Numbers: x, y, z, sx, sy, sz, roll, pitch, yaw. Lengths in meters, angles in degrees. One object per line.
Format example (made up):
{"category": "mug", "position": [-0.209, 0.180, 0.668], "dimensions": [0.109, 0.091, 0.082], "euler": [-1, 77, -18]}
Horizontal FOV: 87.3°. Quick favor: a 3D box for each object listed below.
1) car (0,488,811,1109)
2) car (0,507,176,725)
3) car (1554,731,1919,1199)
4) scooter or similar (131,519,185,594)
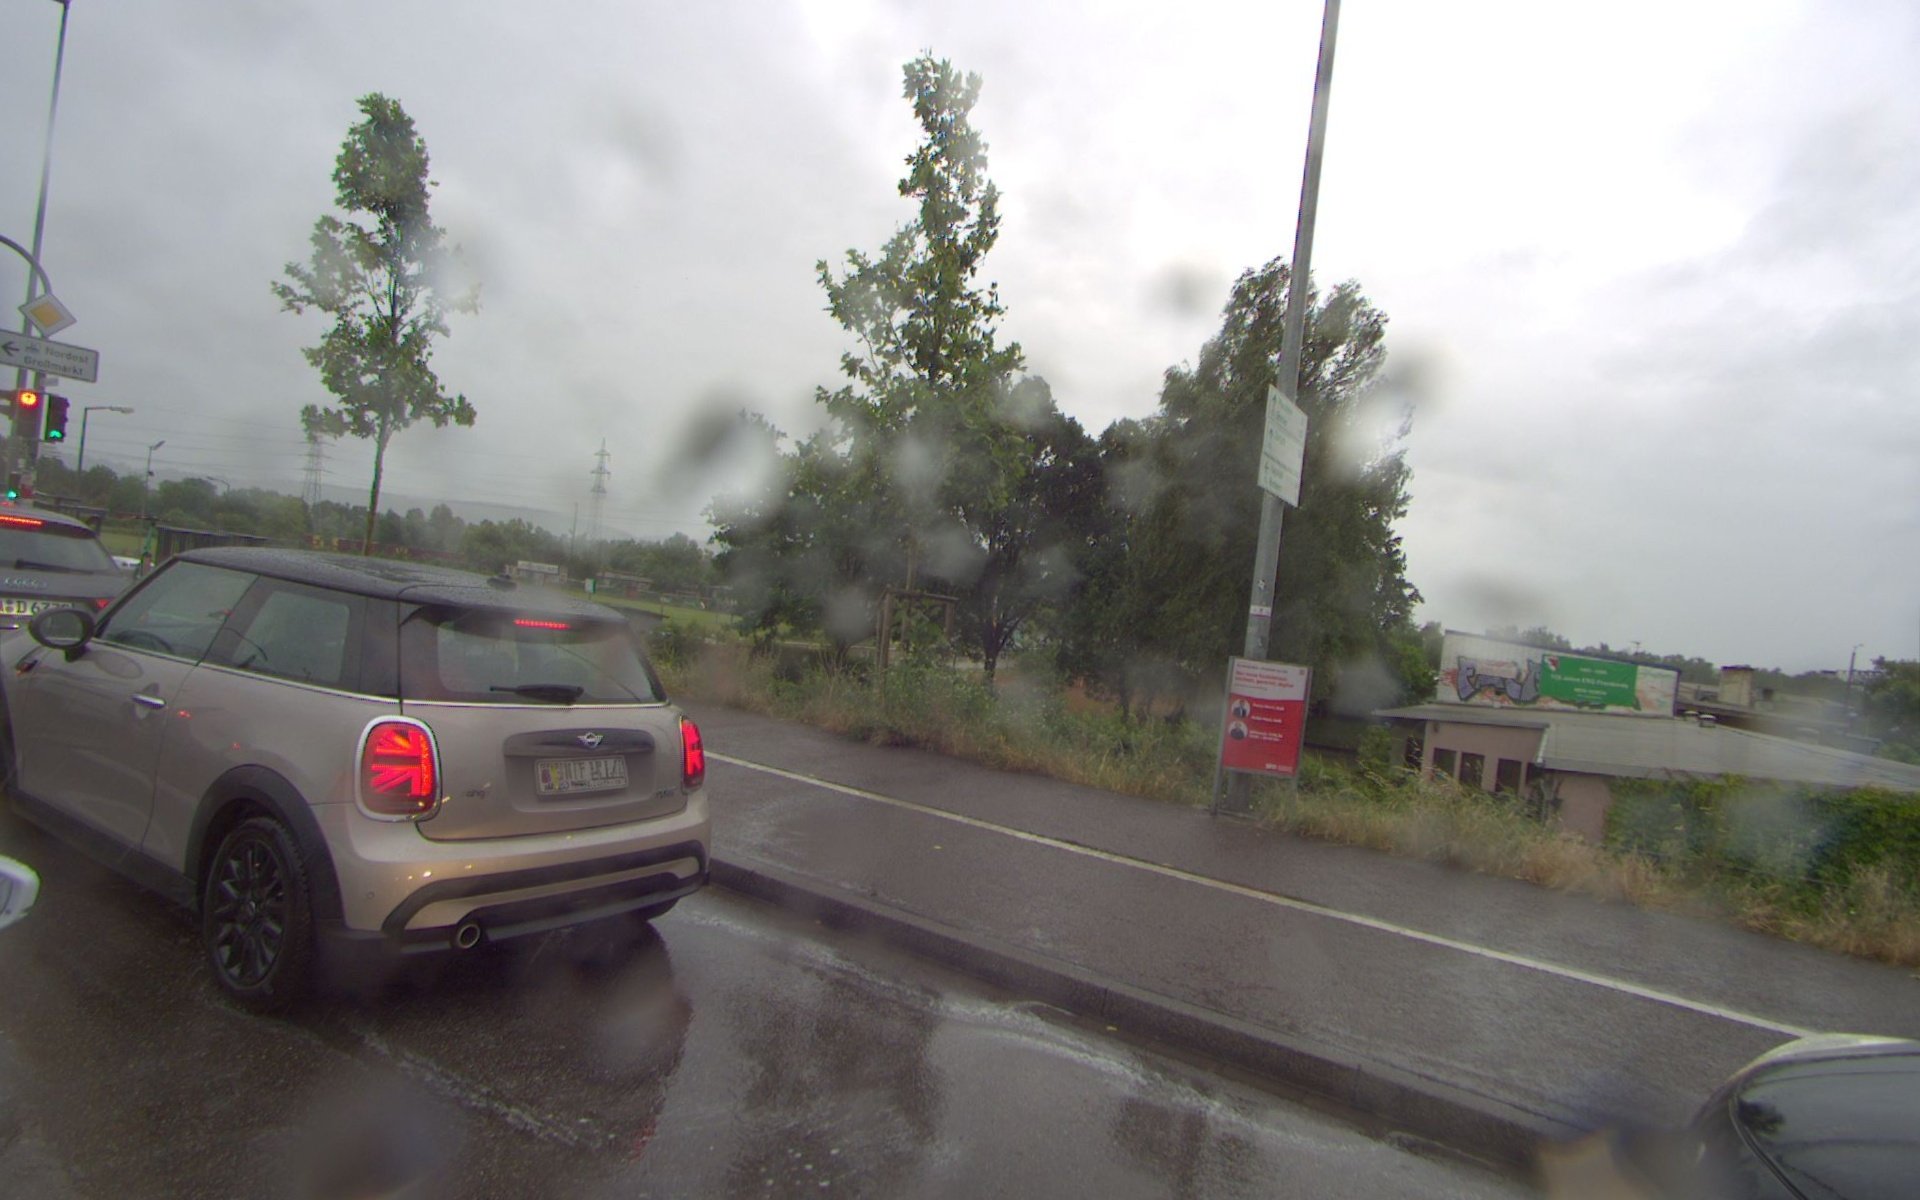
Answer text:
{"category": "car", "position": [-2.658, 0.495, 4.326], "dimensions": [3.563, 1.525, 1.717], "euler": [7, -2, 31]}
{"category": "car", "position": [-7.491, -0.055, 7.240], "dimensions": [3.563, 1.360, 1.632], "euler": [6, -2, 31]}
{"category": "car", "position": [2.769, 1.179, 1.063], "dimensions": [3.563, 1.445, 1.632], "euler": [7, -1, 31]}
{"category": "scooter or similar", "position": [-13.605, -0.750, 17.052], "dimensions": [1.167, 1.171, 0.246], "euler": [6, -1, 33]}
